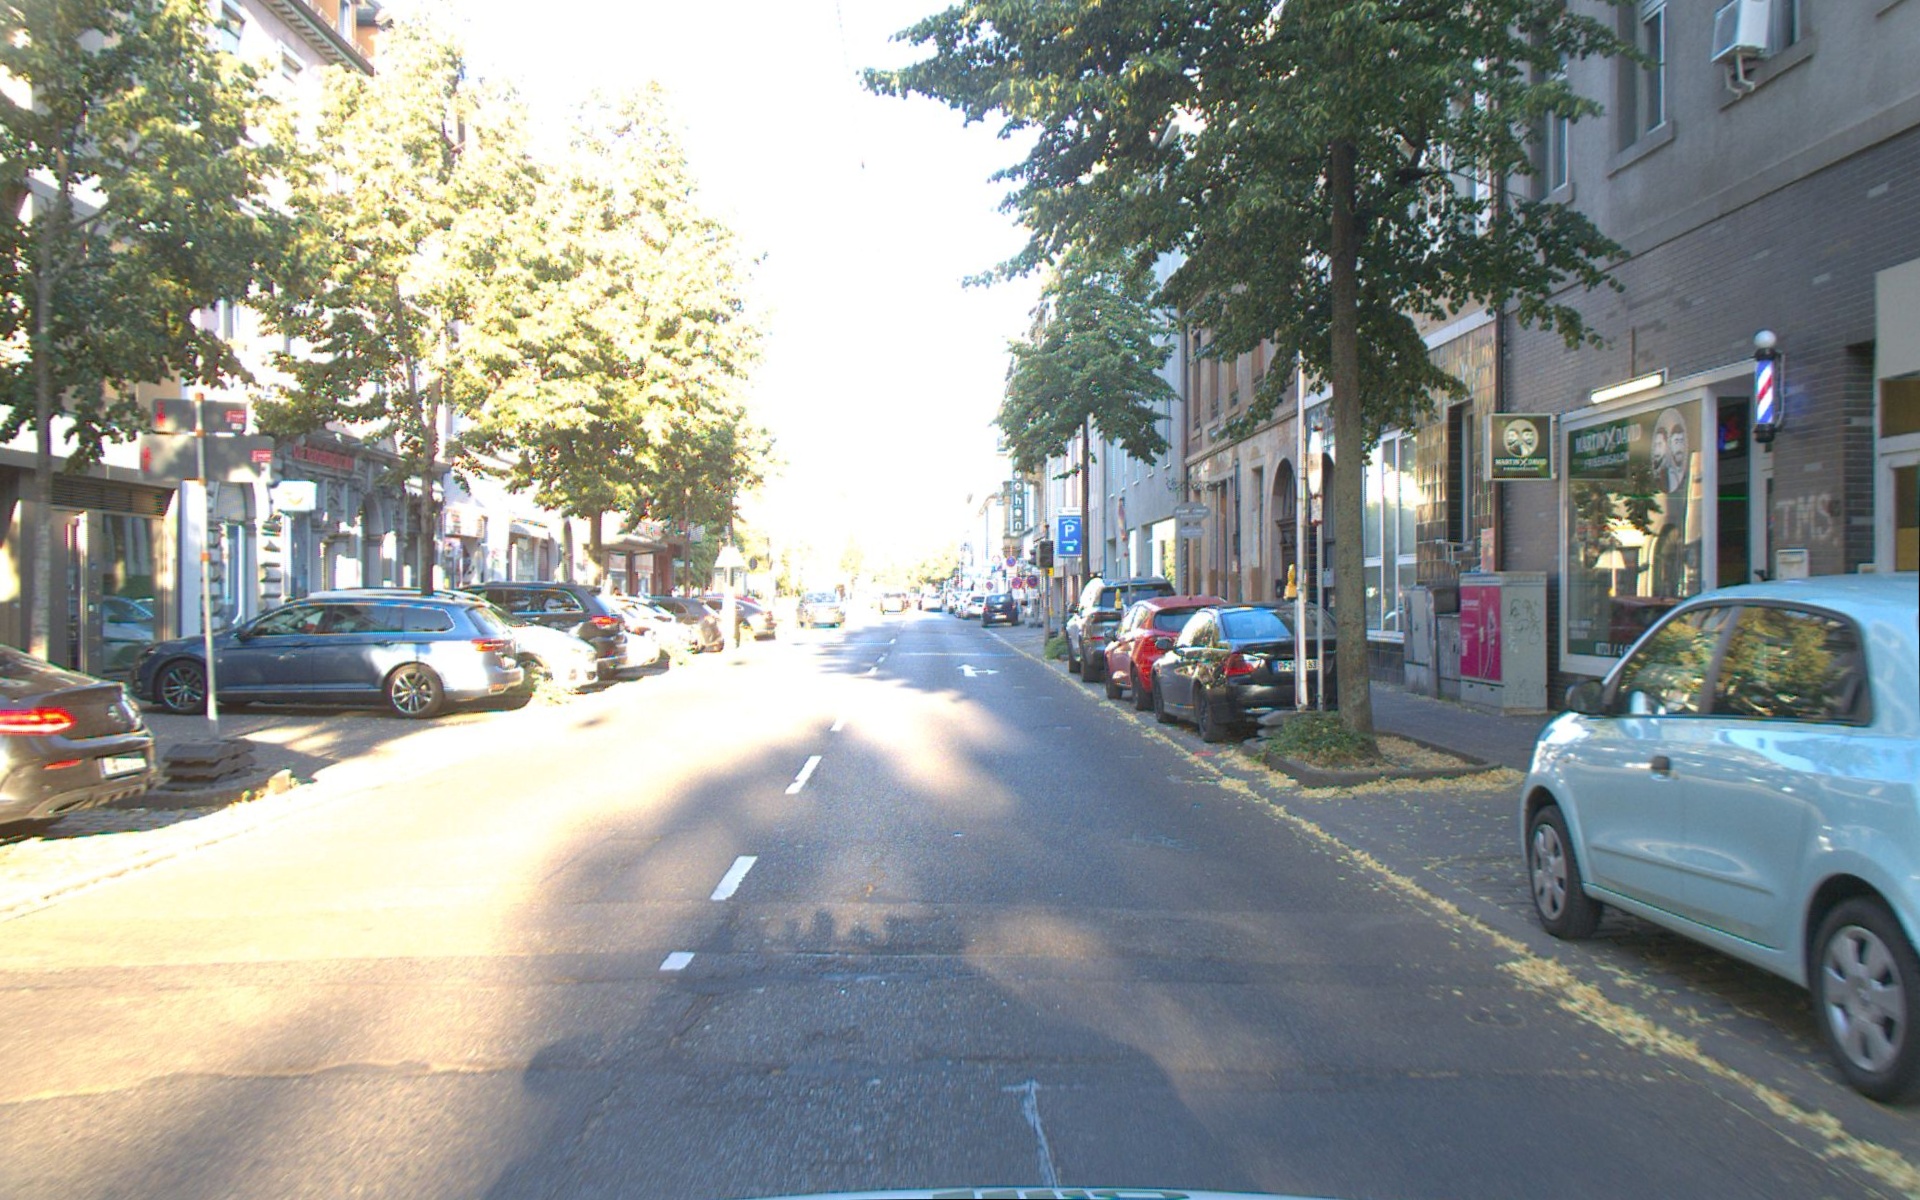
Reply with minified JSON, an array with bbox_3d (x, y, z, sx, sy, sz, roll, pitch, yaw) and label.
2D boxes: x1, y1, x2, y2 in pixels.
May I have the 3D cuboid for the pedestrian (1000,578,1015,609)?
[{"bbox_3d":[2.881,-0.393,100.084,0.757,1.859,1.010,-2,0,-2],"label":"pedestrian"}]

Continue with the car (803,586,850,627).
[{"bbox_3d":[-6.101,0.254,75.262,1.826,1.721,4.452,-1,1,-8],"label":"car"}]

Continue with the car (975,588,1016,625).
[{"bbox_3d":[1.654,0.288,77.879,1.723,1.563,4.000,-4,0,0],"label":"car"}]

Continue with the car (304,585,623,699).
[{"bbox_3d":[-7.514,0.615,25.347,4.318,1.624,1.889,1,1,-3],"label":"car"}]

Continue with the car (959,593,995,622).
[{"bbox_3d":[0.973,0.444,96.535,1.724,1.563,4.818,1,-1,-3],"label":"car"}]

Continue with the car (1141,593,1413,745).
[{"bbox_3d":[3.409,0.679,18.713,1.913,1.414,4.421,-3,0,-4],"label":"car"}]

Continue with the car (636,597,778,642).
[{"bbox_3d":[-8.344,0.642,54.881,4.479,1.432,1.820,1,0,-3],"label":"car"}]

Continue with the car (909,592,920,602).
[{"bbox_3d":[-6.976,-0.425,253.321,1.744,1.574,3.998,0,0,-2],"label":"car"}]

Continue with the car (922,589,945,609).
[{"bbox_3d":[-2.326,-0.082,144.784,1.858,1.609,3.998,1,0,-2],"label":"car"}]

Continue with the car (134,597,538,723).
[{"bbox_3d":[-7.774,0.722,20.946,4.459,1.510,1.742,0,0,-5],"label":"car"}]

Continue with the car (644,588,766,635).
[{"bbox_3d":[-8.920,0.392,58.130,3.990,1.563,1.883,1,0,-2],"label":"car"}]

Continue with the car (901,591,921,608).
[{"bbox_3d":[-4.695,-0.080,157.932,1.858,1.609,3.850,1,0,-2],"label":"car"}]

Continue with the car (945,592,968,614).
[{"bbox_3d":[-0.275,0.221,129.878,1.695,1.679,4.283,1,0,-2],"label":"car"}]

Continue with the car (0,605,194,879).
[{"bbox_3d":[-7.148,0.790,10.016,4.188,1.510,1.744,0,0,-1],"label":"car"}]

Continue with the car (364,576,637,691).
[{"bbox_3d":[-7.606,0.544,27.684,4.067,1.804,1.888,1,0,-4],"label":"car"}]

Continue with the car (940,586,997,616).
[{"bbox_3d":[0.529,0.073,104.174,1.967,1.792,4.432,-1,0,-24],"label":"car"}]

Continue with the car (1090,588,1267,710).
[{"bbox_3d":[3.016,0.631,23.574,1.695,1.513,3.897,-3,0,-4],"label":"car"}]

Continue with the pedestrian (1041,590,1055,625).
[{"bbox_3d":[4.145,0.340,78.247,0.592,1.627,0.773,0,0,-2],"label":"pedestrian"}]

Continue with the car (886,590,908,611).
[{"bbox_3d":[-5.250,0.056,138.413,1.858,1.678,4.102,0,0,-2],"label":"car"}]

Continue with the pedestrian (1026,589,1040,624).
[{"bbox_3d":[3.452,0.314,78.169,0.592,1.627,0.773,0,0,-2],"label":"pedestrian"}]

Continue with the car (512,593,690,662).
[{"bbox_3d":[-8.024,0.605,37.253,3.664,1.469,1.804,1,0,-4],"label":"car"}]

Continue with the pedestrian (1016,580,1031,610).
[{"bbox_3d":[3.858,-0.314,100.263,0.757,1.741,1.041,-2,0,-2],"label":"pedestrian"}]

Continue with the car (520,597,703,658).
[{"bbox_3d":[-8.396,0.650,40.097,4.013,1.428,1.843,0,0,0],"label":"car"}]

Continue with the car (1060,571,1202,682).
[{"bbox_3d":[3.021,0.430,30.240,1.997,1.767,4.710,-3,0,-1],"label":"car"}]

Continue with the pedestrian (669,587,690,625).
[{"bbox_3d":[-11.629,0.248,68.636,0.719,1.555,0.875,1,-2,-1],"label":"pedestrian"}]

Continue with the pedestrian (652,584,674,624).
[{"bbox_3d":[-12.296,0.174,68.531,0.756,1.636,0.875,1,-2,-1],"label":"pedestrian"}]

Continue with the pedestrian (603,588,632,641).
[{"bbox_3d":[-11.505,0.503,55.544,0.756,1.752,0.875,1,-2,-1],"label":"pedestrian"}]

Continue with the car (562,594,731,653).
[{"bbox_3d":[-7.962,0.579,42.278,4.025,1.428,1.883,1,0,-4],"label":"car"}]

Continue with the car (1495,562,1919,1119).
[{"bbox_3d":[3.495,0.655,6.256,1.657,1.570,3.551,-2,0,-2],"label":"car"}]

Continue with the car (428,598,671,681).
[{"bbox_3d":[-7.499,0.703,30.537,4.067,1.446,1.765,1,0,-4],"label":"car"}]

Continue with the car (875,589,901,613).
[{"bbox_3d":[-5.288,0.081,121.161,1.858,1.678,4.102,0,0,-2],"label":"car"}]
